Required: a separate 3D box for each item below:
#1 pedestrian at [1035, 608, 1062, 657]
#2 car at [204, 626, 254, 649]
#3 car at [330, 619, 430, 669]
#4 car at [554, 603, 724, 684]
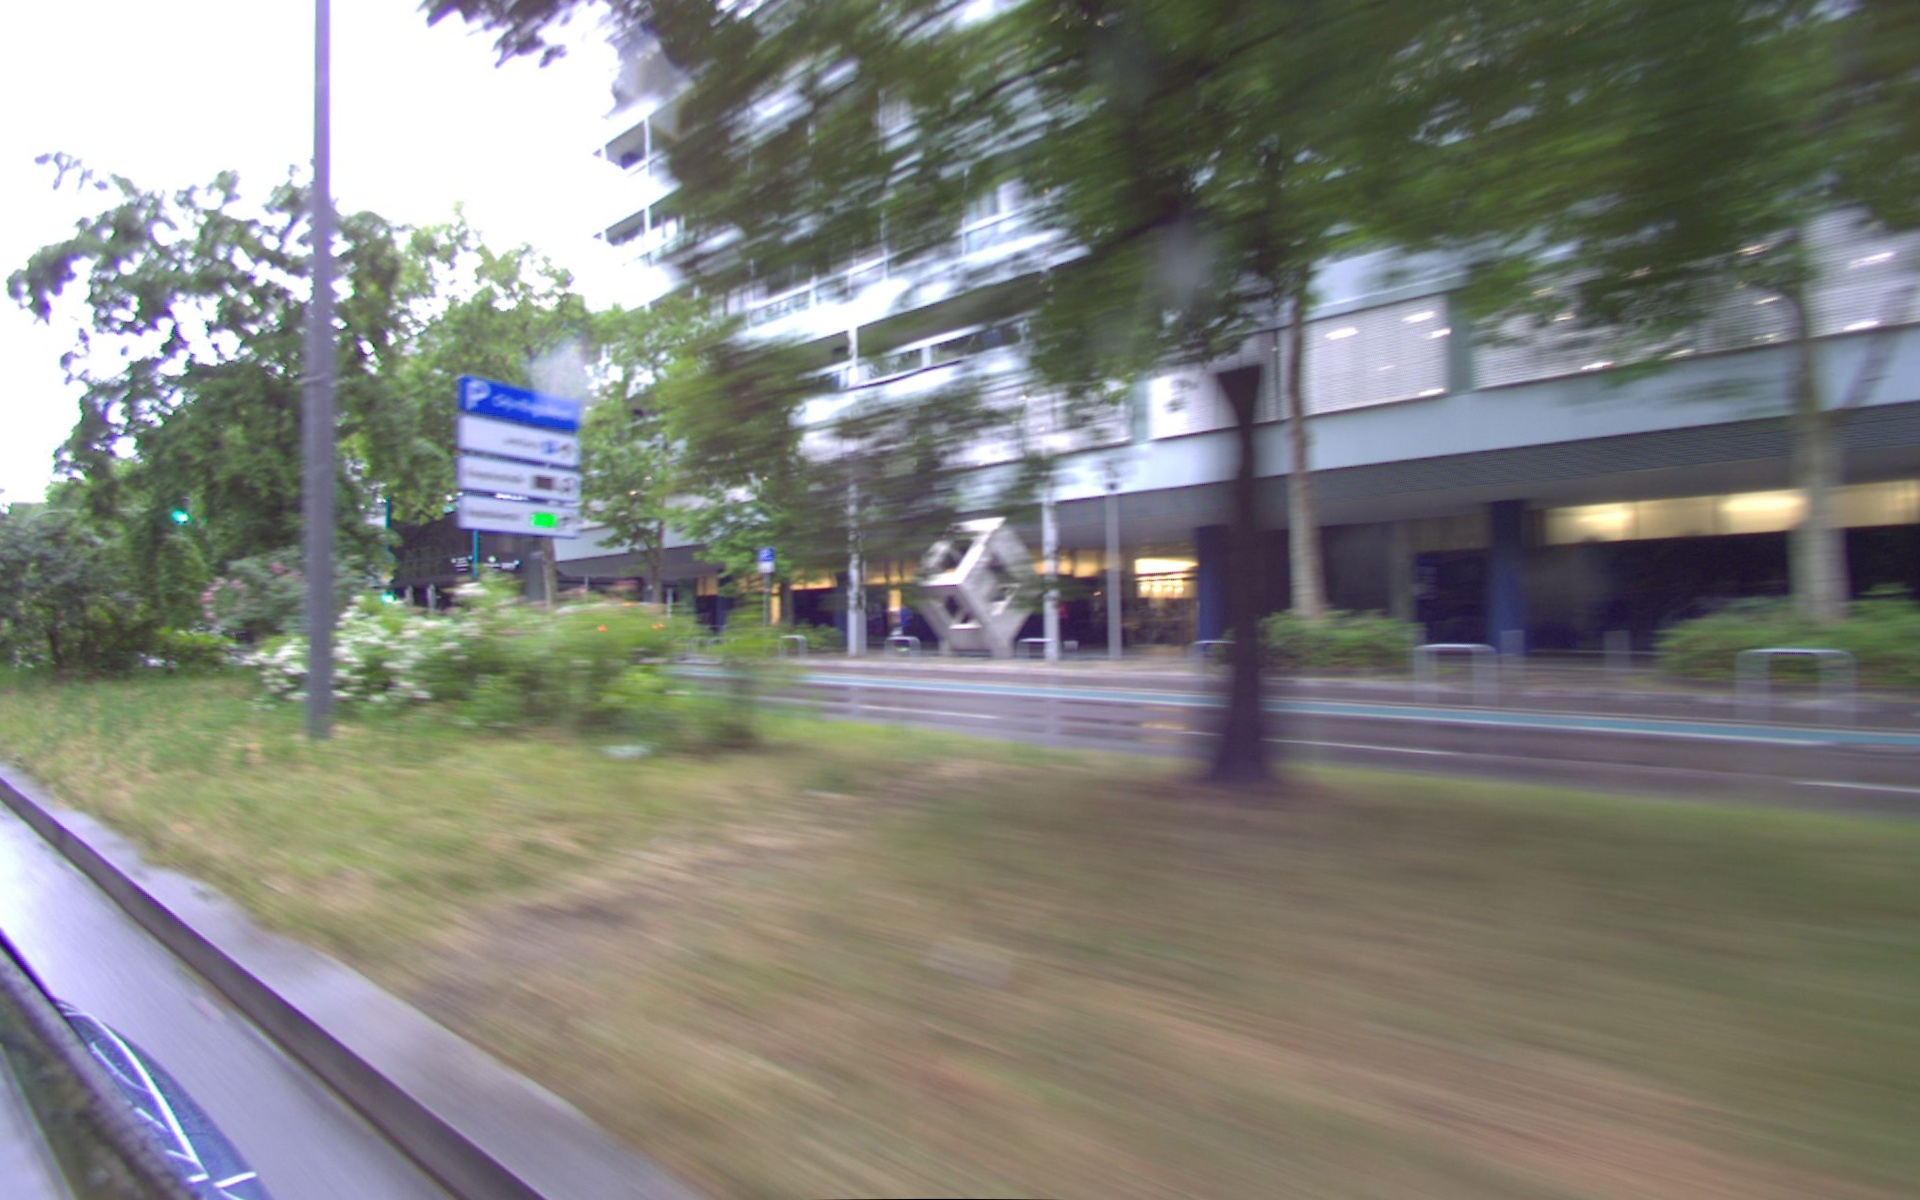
[{"bbox_3d":[2.725,0.989,31.003,0.574,1.493,0.604,-1,0,38],"label":"pedestrian"},{"bbox_3d":[-47.942,2.426,66.303,4.538,1.396,1.850,-1,1,44],"label":"car"},{"bbox_3d":[-20.919,1.513,36.418,4.748,1.596,1.888,-1,1,44],"label":"car"},{"bbox_3d":[-8.001,1.046,24.968,4.674,1.769,1.893,-2,0,43],"label":"car"}]
